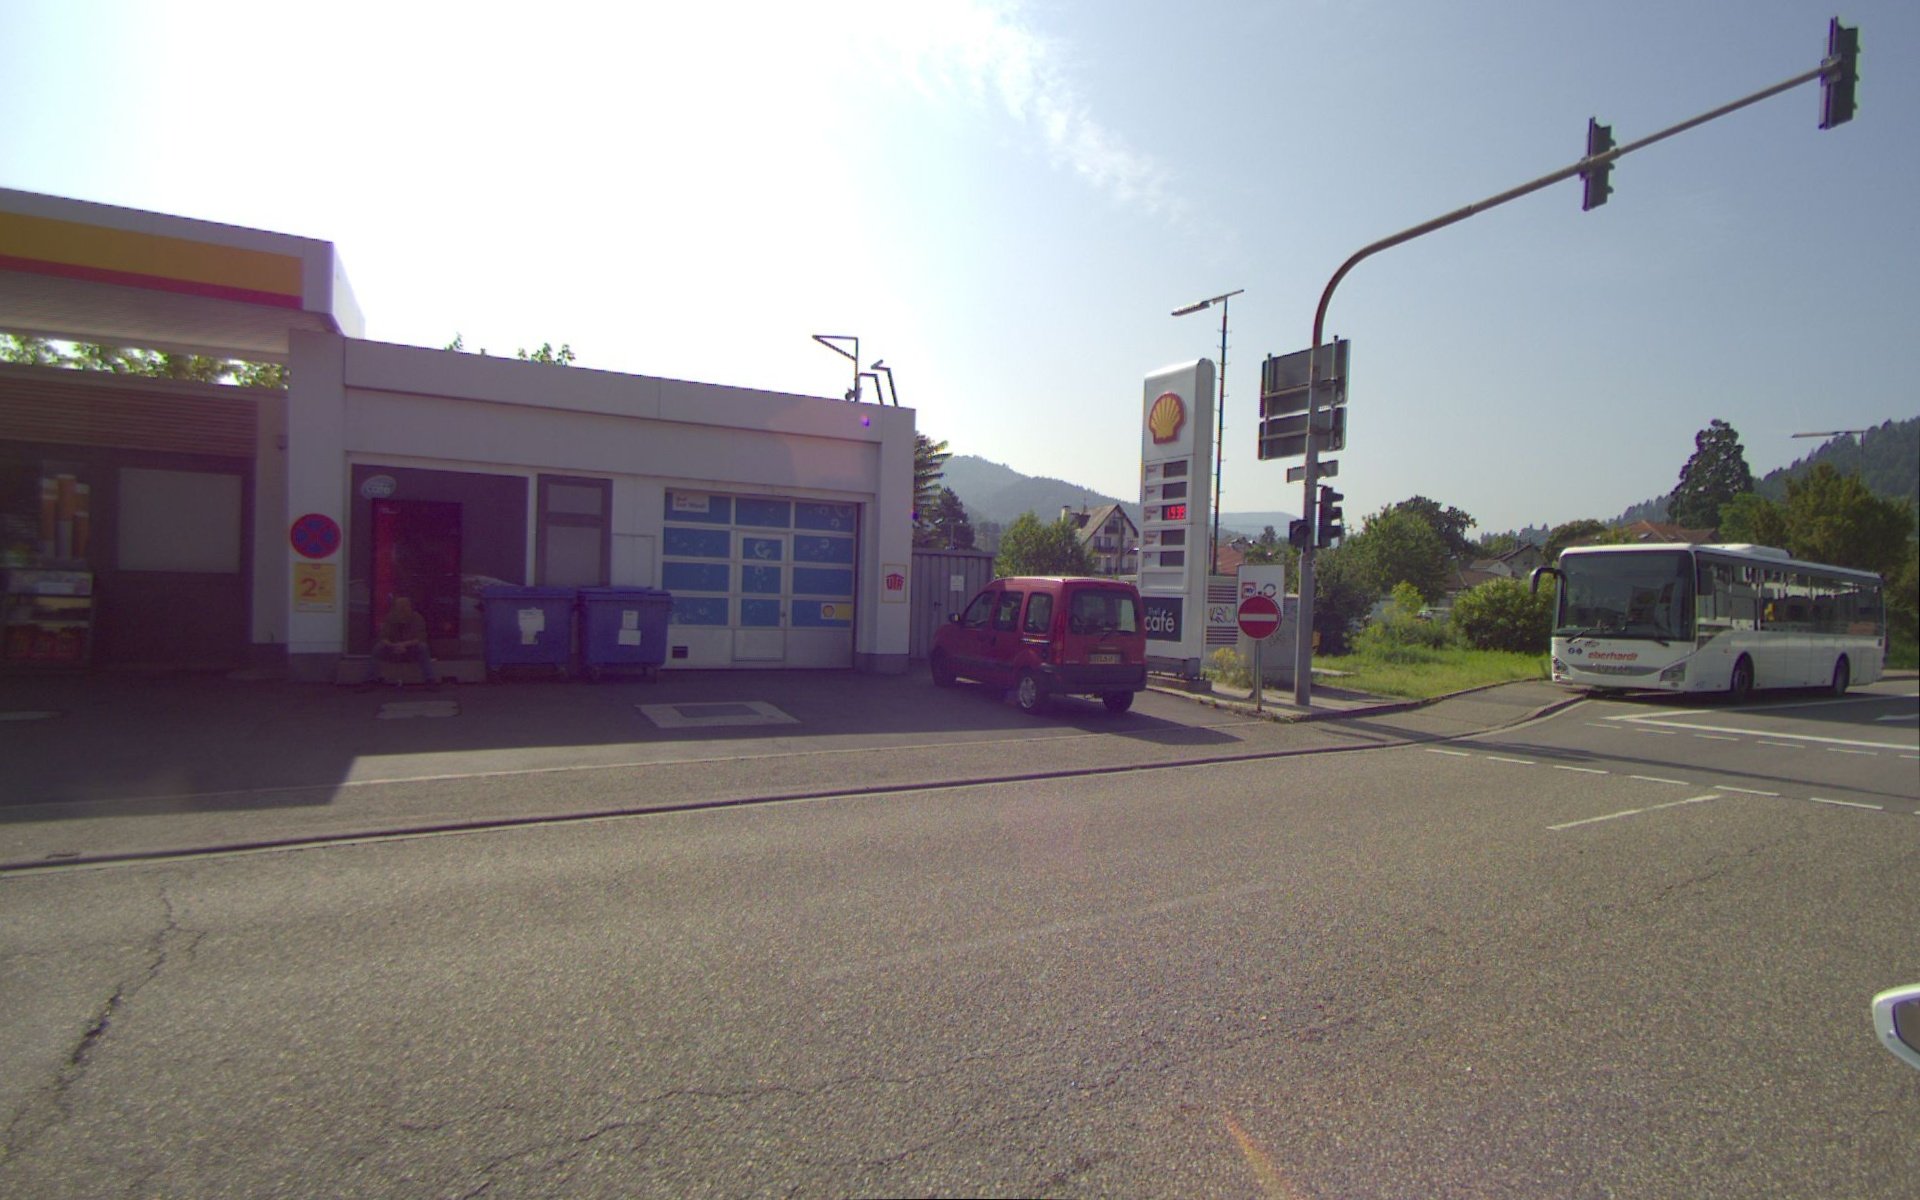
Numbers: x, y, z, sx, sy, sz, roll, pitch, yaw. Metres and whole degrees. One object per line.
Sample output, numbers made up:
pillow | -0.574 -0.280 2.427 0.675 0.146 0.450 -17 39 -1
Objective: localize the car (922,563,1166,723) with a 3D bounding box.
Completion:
car | 1.051 0.490 14.444 1.680 1.820 3.760 1 4 -28

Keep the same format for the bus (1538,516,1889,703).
bus | 17.276 0.320 22.508 11.834 3.354 2.604 2 0 -34

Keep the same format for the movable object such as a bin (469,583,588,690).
movable object such as a bin | -5.981 0.483 13.875 1.416 1.307 1.236 2 4 -27

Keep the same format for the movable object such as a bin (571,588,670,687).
movable object such as a bin | -4.854 0.512 14.319 1.153 1.259 1.236 2 4 -27

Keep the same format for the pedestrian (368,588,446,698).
pedestrian | -6.913 0.531 12.584 0.806 1.313 0.612 2 2 -28
